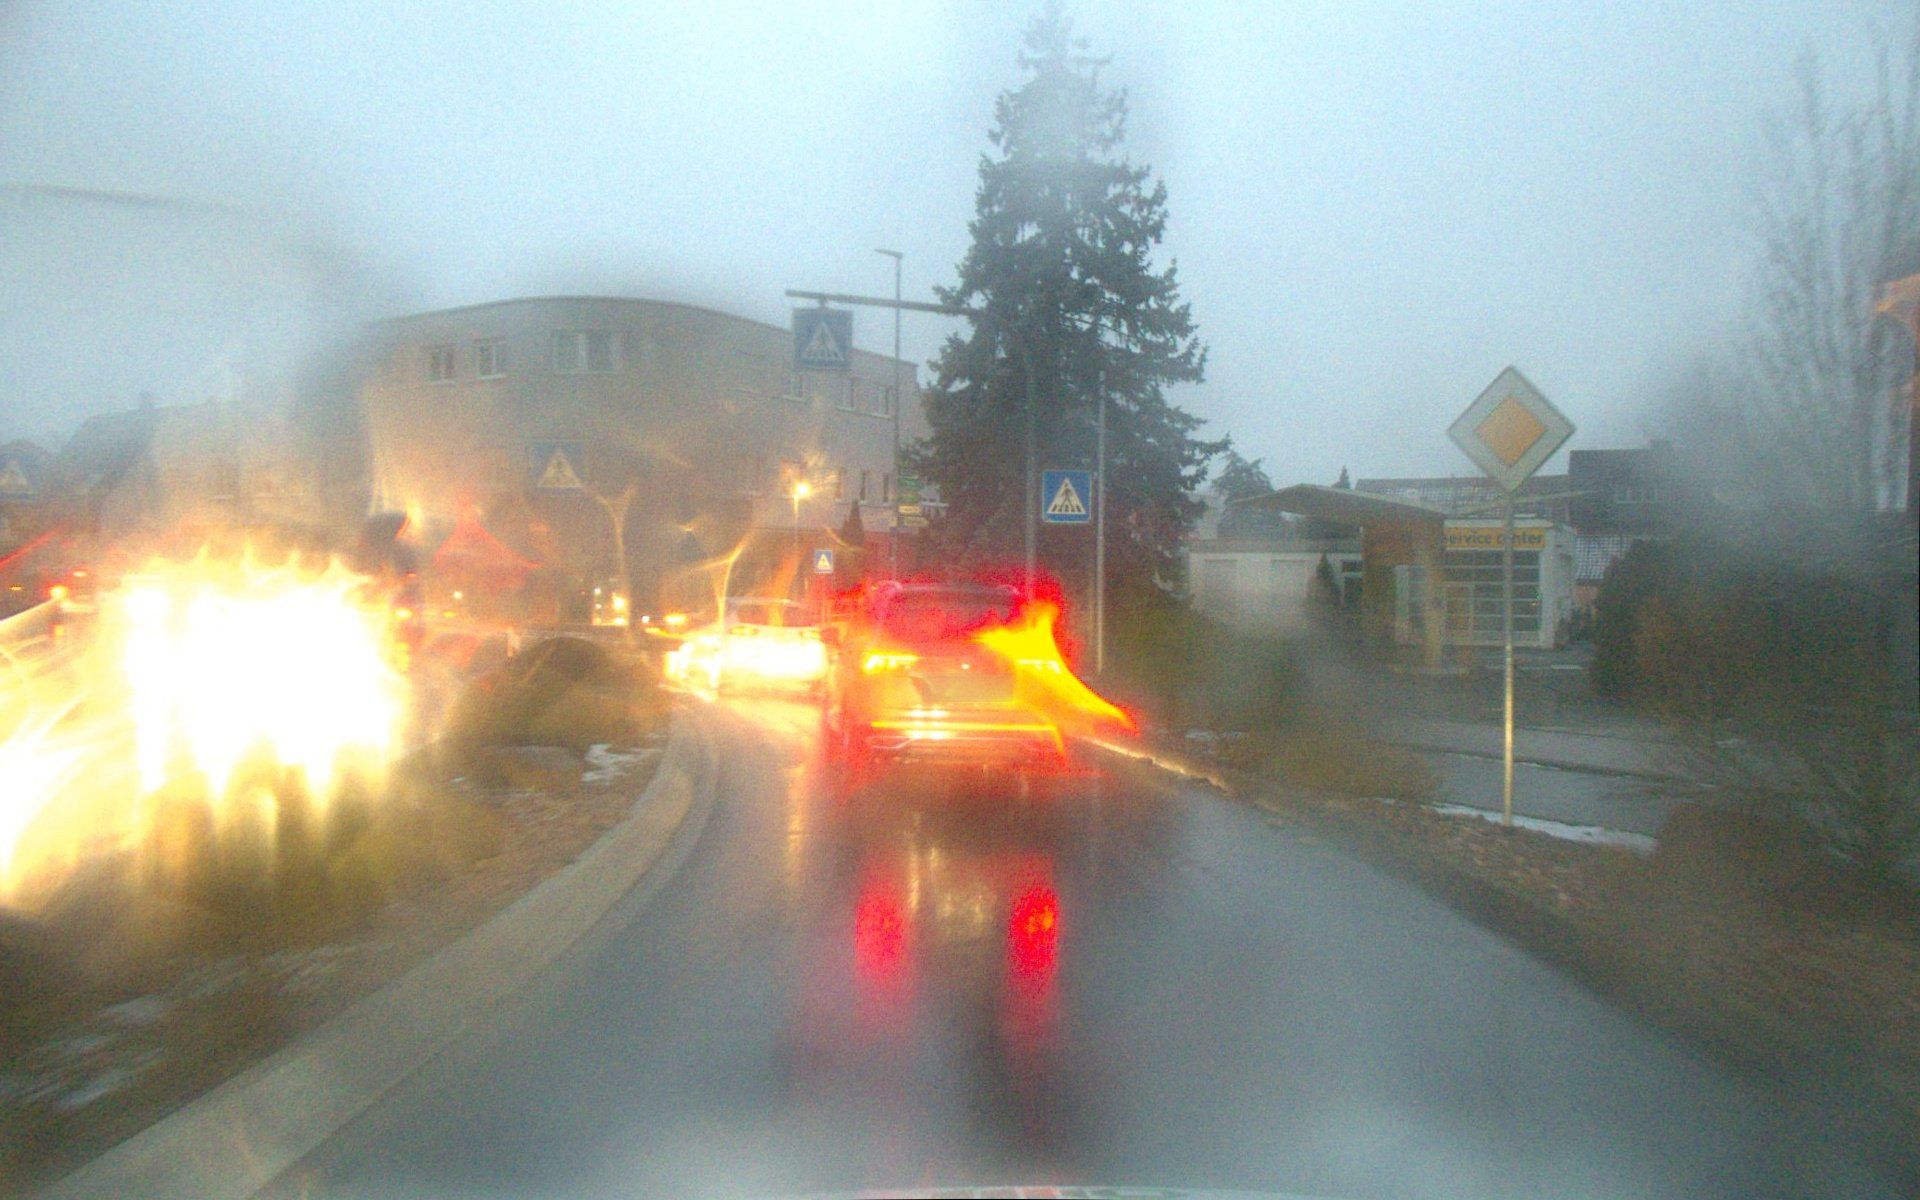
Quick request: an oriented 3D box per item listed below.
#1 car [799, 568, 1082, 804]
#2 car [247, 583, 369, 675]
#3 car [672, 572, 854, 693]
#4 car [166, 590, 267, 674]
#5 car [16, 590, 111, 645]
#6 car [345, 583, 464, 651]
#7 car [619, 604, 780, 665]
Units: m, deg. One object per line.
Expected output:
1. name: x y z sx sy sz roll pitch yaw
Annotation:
1. car: -0.324 0.609 14.397 1.908 1.748 3.992 0 1 -9
2. car: -16.431 0.672 41.537 2.142 2.096 4.523 0 1 -31
3. car: -3.341 0.465 27.228 2.130 1.718 4.549 2 1 -18
4. car: -20.701 0.829 45.943 2.141 2.096 4.526 0 1 -30
5. car: -33.053 0.605 60.918 2.053 1.865 4.499 0 2 -43
6. car: -15.802 0.431 46.905 2.046 1.747 4.517 0 1 -34
7. car: -7.323 0.939 46.949 1.870 1.599 4.555 2 1 35
